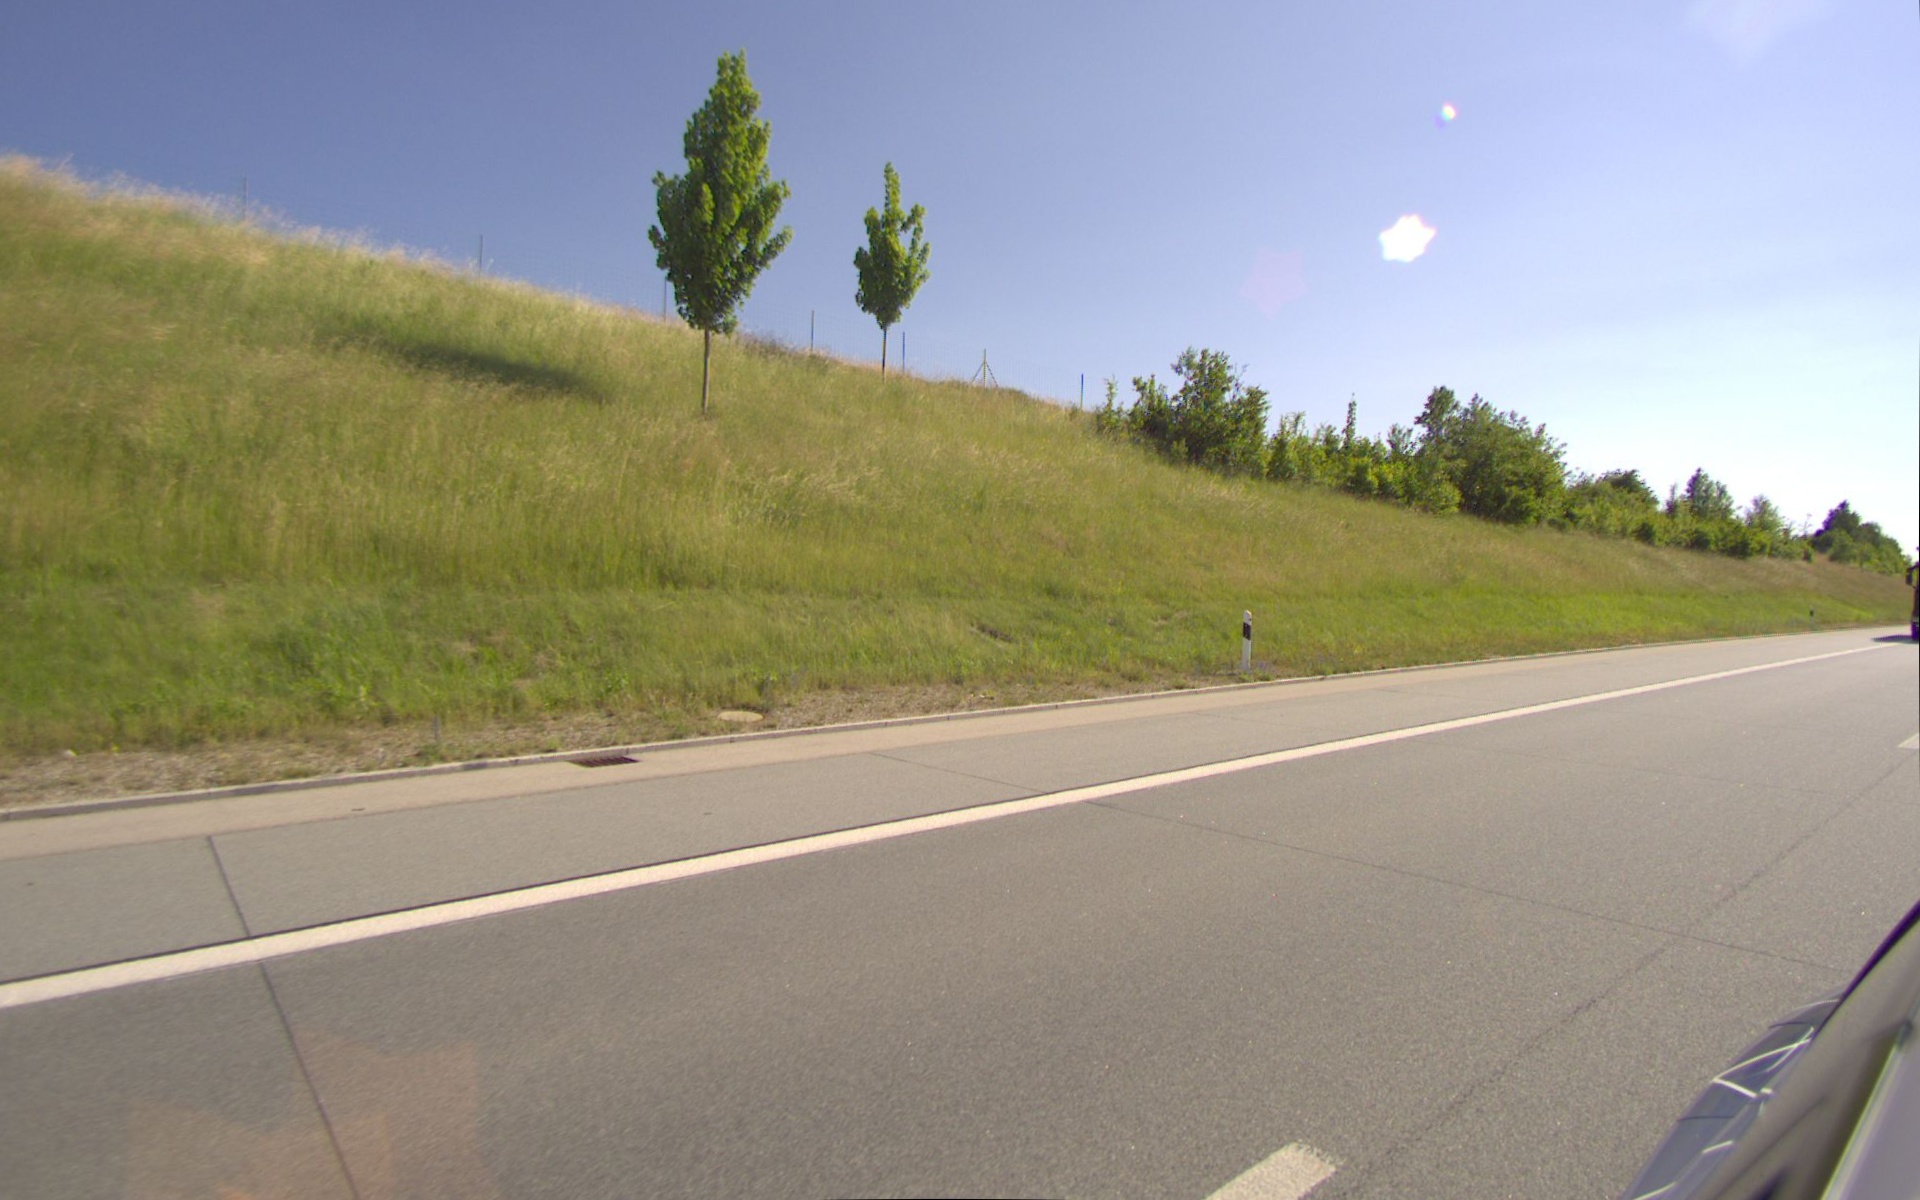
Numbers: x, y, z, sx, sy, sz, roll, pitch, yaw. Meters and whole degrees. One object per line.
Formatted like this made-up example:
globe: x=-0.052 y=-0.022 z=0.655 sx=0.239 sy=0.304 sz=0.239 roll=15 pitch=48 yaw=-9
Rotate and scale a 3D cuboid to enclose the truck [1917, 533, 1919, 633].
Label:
truck: x=42.860 y=-0.643 z=42.188 sx=13.161 sy=3.866 sz=2.622 roll=0 pitch=-1 yaw=-39
